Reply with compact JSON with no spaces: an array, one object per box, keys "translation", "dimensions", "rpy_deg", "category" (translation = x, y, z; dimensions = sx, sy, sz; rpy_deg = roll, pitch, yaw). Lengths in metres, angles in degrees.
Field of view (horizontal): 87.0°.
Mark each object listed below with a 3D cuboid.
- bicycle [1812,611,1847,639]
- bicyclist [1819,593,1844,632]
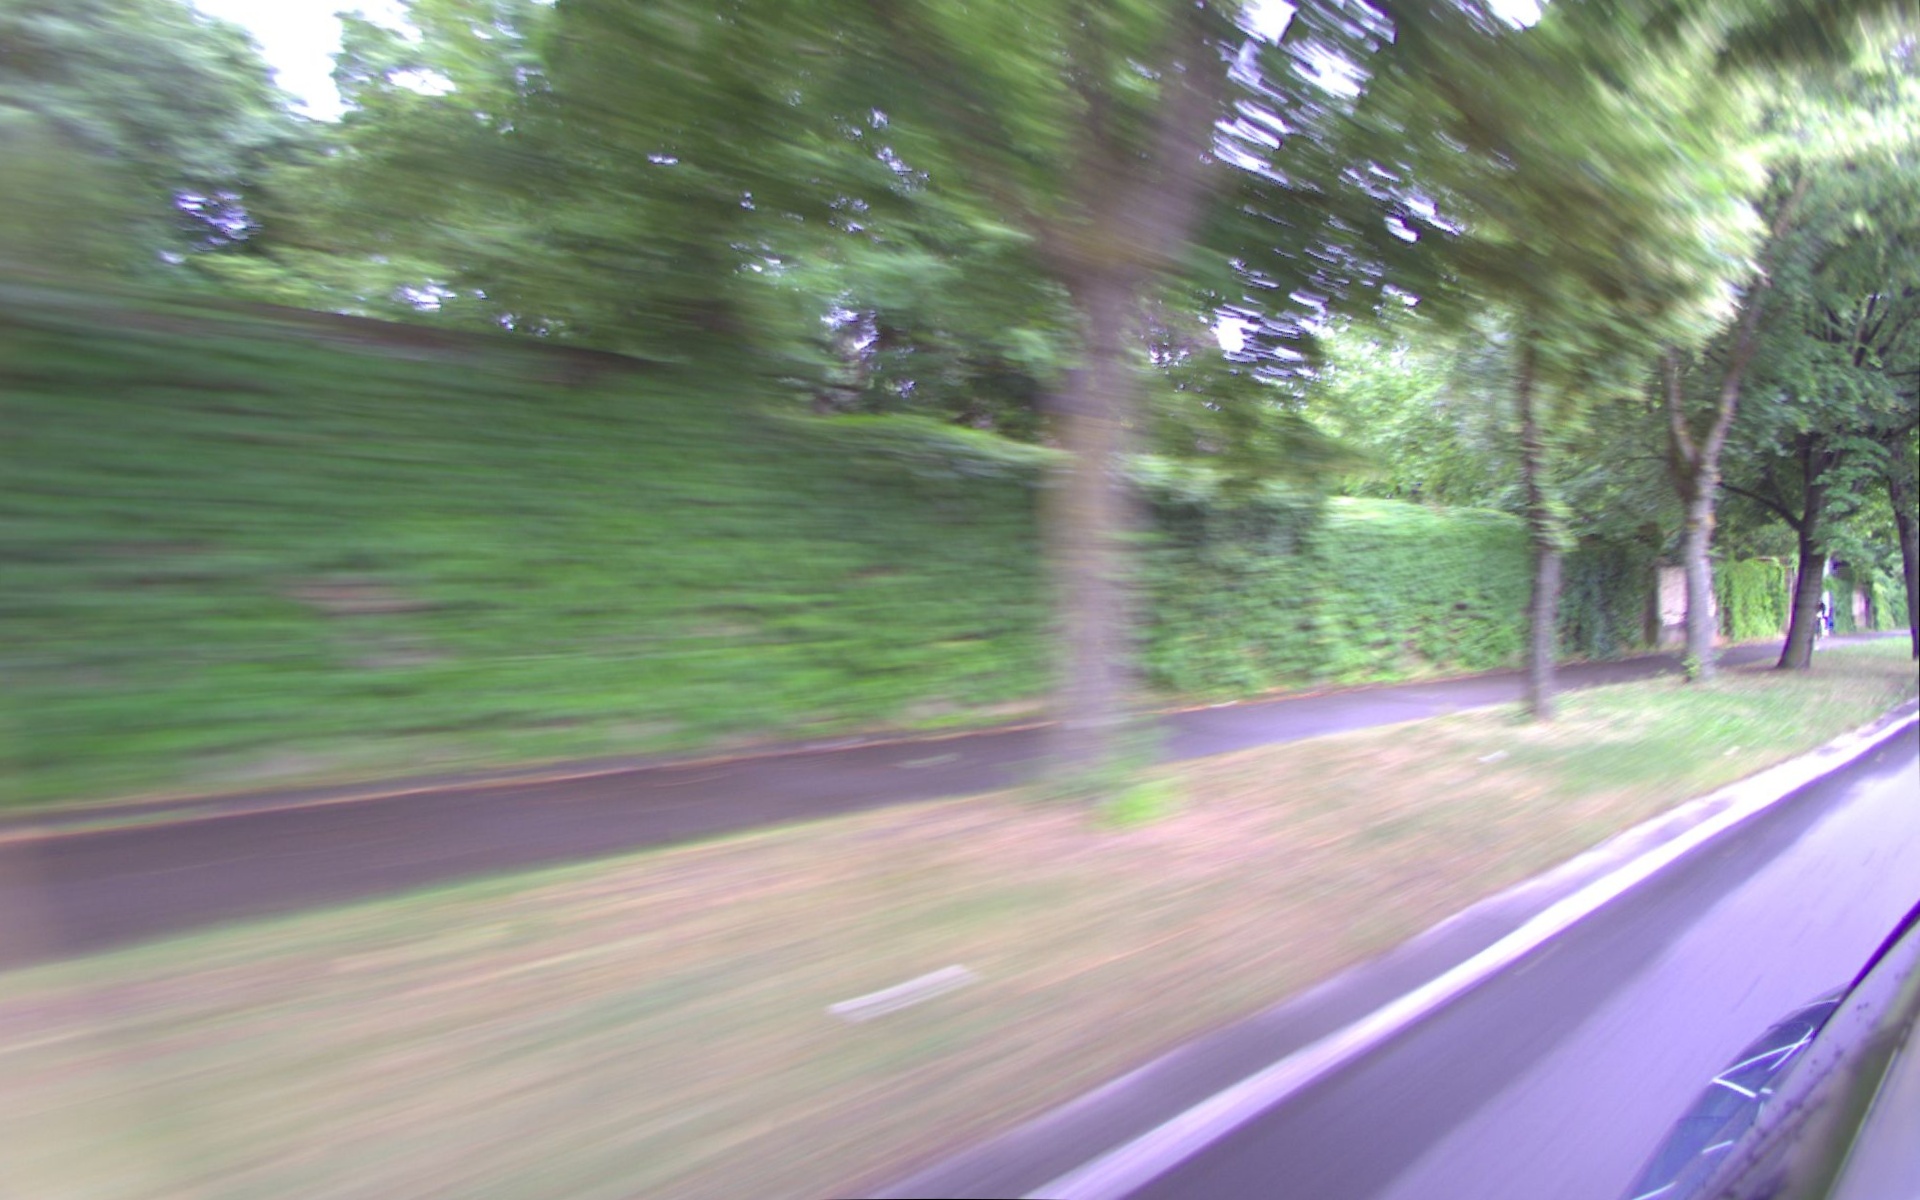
[{"translation":[32.028,0.903,37.266],"dimensions":[2.503,0.960,0.544],"rpy_deg":[1,1,-40],"category":"bicycle"},{"translation":[32.145,0.449,37.323],"dimensions":[0.654,1.407,0.536],"rpy_deg":[1,1,-39],"category":"bicyclist"}]
